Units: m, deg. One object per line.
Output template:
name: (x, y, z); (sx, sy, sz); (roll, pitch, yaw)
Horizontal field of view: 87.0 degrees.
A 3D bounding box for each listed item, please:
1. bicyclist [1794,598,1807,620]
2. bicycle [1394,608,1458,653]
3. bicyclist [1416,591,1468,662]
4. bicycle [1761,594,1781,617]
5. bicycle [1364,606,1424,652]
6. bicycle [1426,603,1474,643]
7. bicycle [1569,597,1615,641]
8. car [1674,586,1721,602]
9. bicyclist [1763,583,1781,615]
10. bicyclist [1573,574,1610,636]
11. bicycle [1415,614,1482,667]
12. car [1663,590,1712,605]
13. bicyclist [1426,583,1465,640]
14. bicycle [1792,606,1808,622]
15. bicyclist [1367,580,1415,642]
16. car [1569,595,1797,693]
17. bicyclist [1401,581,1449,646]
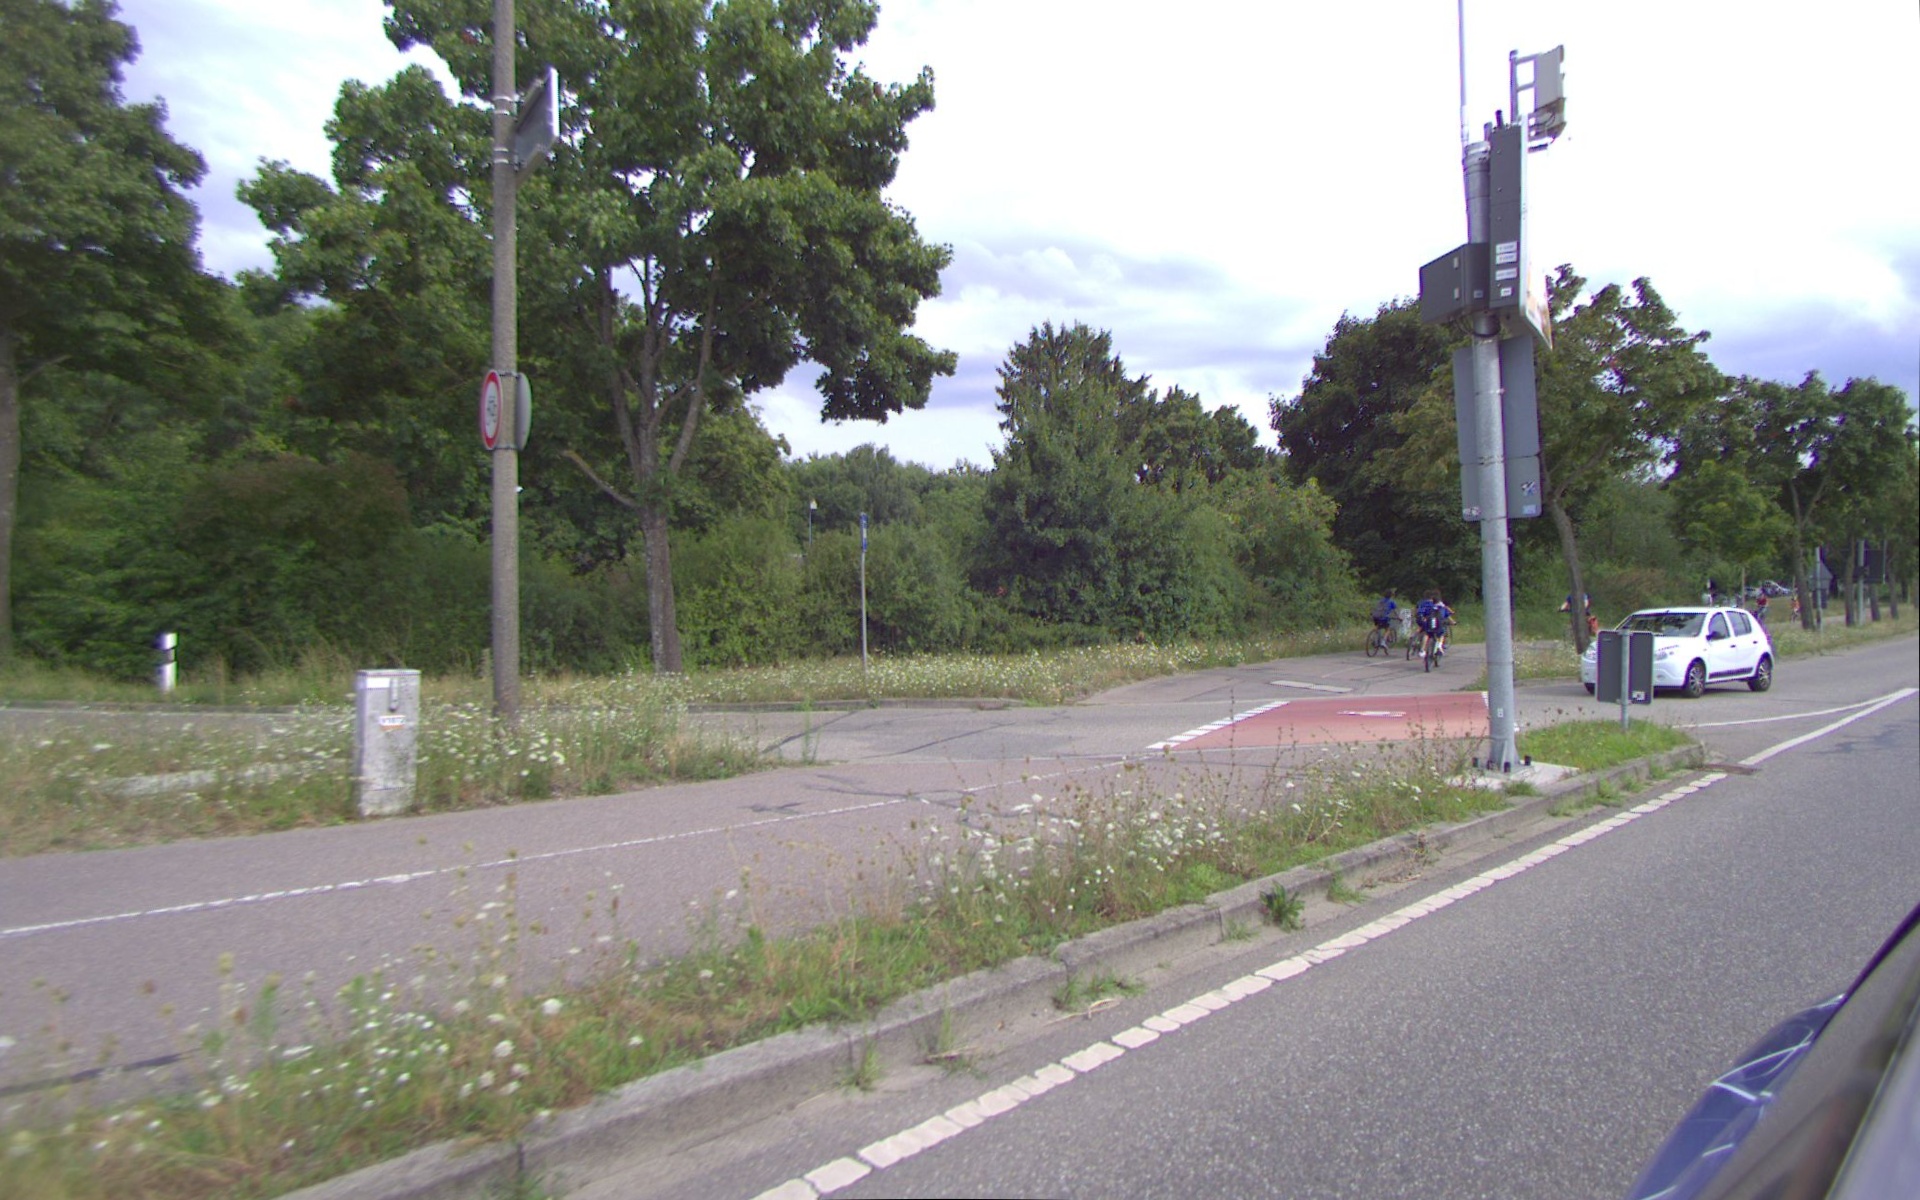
bicyclist: (51.286, 0.552, 61.738); (0.442, 1.299, 0.539); (0, 0, -43)
bicycle: (11.324, 0.724, 24.567); (2.157, 1.050, 0.596); (1, 0, -42)
bicyclist: (10.753, 0.572, 22.563); (0.942, 1.537, 0.742); (0, 0, -42)
bicycle: (43.357, 0.288, 54.066); (2.194, 1.162, 0.514); (0, 2, -44)
bicycle: (10.899, 0.715, 25.378); (1.756, 1.018, 0.621); (-3, 5, -39)
bicycle: (13.351, 0.611, 27.556); (0.620, 1.018, 1.759); (4, 3, 44)
bicycle: (17.495, 0.509, 28.005); (1.949, 1.162, 0.574); (0, 2, -44)
car: (80.914, -0.708, 111.042); (3.985, 1.575, 1.626); (3, 2, 42)
bicyclist: (43.415, -0.072, 54.107); (0.768, 1.678, 0.652); (0, 0, -43)
bicyclist: (17.447, 0.142, 27.950); (0.861, 1.678, 0.652); (0, 0, -43)
bicycle: (10.997, 0.892, 22.771); (2.068, 1.018, 0.621); (-3, 5, -43)
car: (75.983, -0.257, 105.678); (3.985, 1.461, 1.626); (3, 2, 42)
bicyclist: (13.117, 0.299, 27.338); (0.740, 1.492, 0.793); (0, 0, 45)
bicycle: (51.249, 0.847, 61.713); (1.752, 0.976, 0.514); (0, 2, -44)
bicyclist: (10.747, 0.259, 25.249); (0.941, 1.505, 0.742); (0, 0, -40)
car: (12.821, 0.717, 17.918); (3.921, 1.521, 1.854); (0, -1, -31)
bicyclist: (11.267, 0.313, 24.500); (0.942, 1.537, 0.742); (0, 0, -42)
